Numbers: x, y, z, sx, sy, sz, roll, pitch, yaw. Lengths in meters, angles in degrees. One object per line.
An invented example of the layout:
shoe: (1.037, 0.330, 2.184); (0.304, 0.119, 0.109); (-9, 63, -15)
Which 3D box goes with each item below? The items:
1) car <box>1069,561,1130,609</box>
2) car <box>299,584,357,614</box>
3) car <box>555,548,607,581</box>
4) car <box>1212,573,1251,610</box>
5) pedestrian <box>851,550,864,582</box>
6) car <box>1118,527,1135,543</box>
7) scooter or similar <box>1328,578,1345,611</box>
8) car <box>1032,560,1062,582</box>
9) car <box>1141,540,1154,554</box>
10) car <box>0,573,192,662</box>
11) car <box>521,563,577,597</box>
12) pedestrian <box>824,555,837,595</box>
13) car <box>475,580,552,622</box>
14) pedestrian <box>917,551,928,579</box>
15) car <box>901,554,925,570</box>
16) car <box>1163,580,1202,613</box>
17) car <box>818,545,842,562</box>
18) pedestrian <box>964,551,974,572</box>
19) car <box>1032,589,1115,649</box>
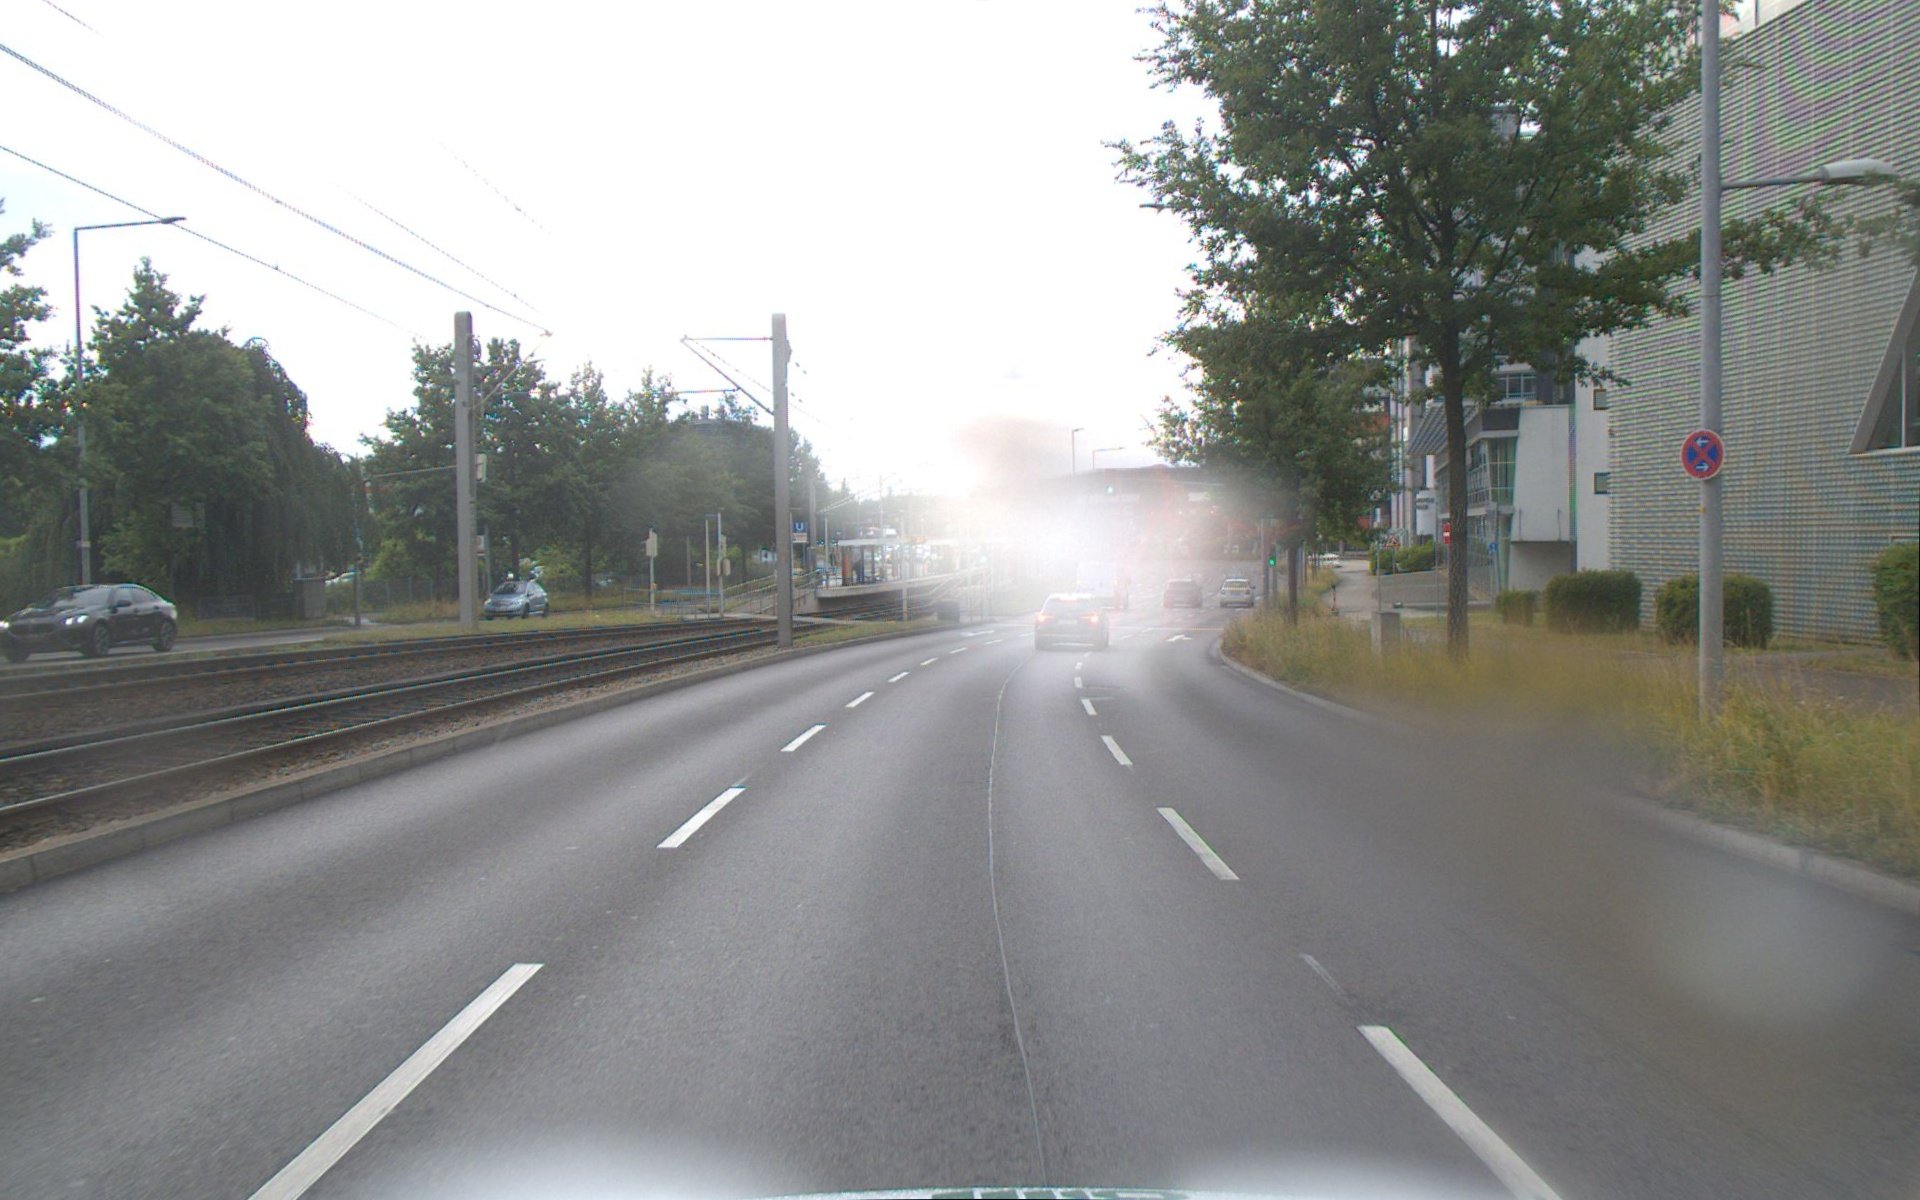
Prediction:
car: (6.932, -0.717, 81.688); (2.457, 2.215, 5.153); (0, -1, 10)
car: (-31.698, -0.036, 82.948); (1.975, 1.439, 3.955); (1, -1, -32)
car: (-25.255, -2.343, 110.384); (1.951, 2.049, 4.003); (0, -1, 11)
car: (14.367, -0.496, 87.748); (1.978, 1.800, 4.004); (0, 2, 8)
pedestrian: (-6.073, -2.014, 97.687); (0.623, 1.887, 0.751); (0, -1, 8)
car: (24.738, -9.680, 246.121); (1.953, 2.049, 3.998); (0, -1, -3)
scooter or similar: (15.186, -0.231, 66.740); (0.448, 1.285, 1.338); (-3, 0, 5)
car: (6.841, -2.279, 129.713); (1.951, 1.477, 3.853); (0, 5, 8)
car: (29.398, -8.293, 259.472); (1.780, 2.049, 3.472); (0, -1, 3)
car: (-17.218, 0.299, 32.903); (1.845, 1.547, 4.402); (-4, 1, -2)
car: (-26.100, -1.258, 105.107); (1.951, 2.049, 4.003); (0, -1, 11)
pedestrian: (-6.462, -1.232, 82.316); (0.537, 1.987, 0.664); (0, -1, 4)
car: (-18.922, 0.006, 70.249); (1.952, 1.709, 4.002); (1, 1, 3)
pedestrian: (-2.897, -2.680, 126.979); (0.837, 2.049, 1.041); (1, -1, -1)
car: (-6.277, -5.047, 220.189); (1.966, 2.049, 3.972); (1, -1, -23)
car: (11.681, -0.176, 86.953); (1.978, 1.651, 4.003); (0, -1, 7)
car: (-16.646, -5.974, 212.054); (1.966, 2.049, 3.972); (1, -1, -23)
pedestrian: (0.802, -3.428, 147.546); (0.736, 1.781, 0.764); (0, -1, 9)
car: (3.045, 0.455, 43.573); (1.726, 1.489, 4.631); (0, 0, 10)
